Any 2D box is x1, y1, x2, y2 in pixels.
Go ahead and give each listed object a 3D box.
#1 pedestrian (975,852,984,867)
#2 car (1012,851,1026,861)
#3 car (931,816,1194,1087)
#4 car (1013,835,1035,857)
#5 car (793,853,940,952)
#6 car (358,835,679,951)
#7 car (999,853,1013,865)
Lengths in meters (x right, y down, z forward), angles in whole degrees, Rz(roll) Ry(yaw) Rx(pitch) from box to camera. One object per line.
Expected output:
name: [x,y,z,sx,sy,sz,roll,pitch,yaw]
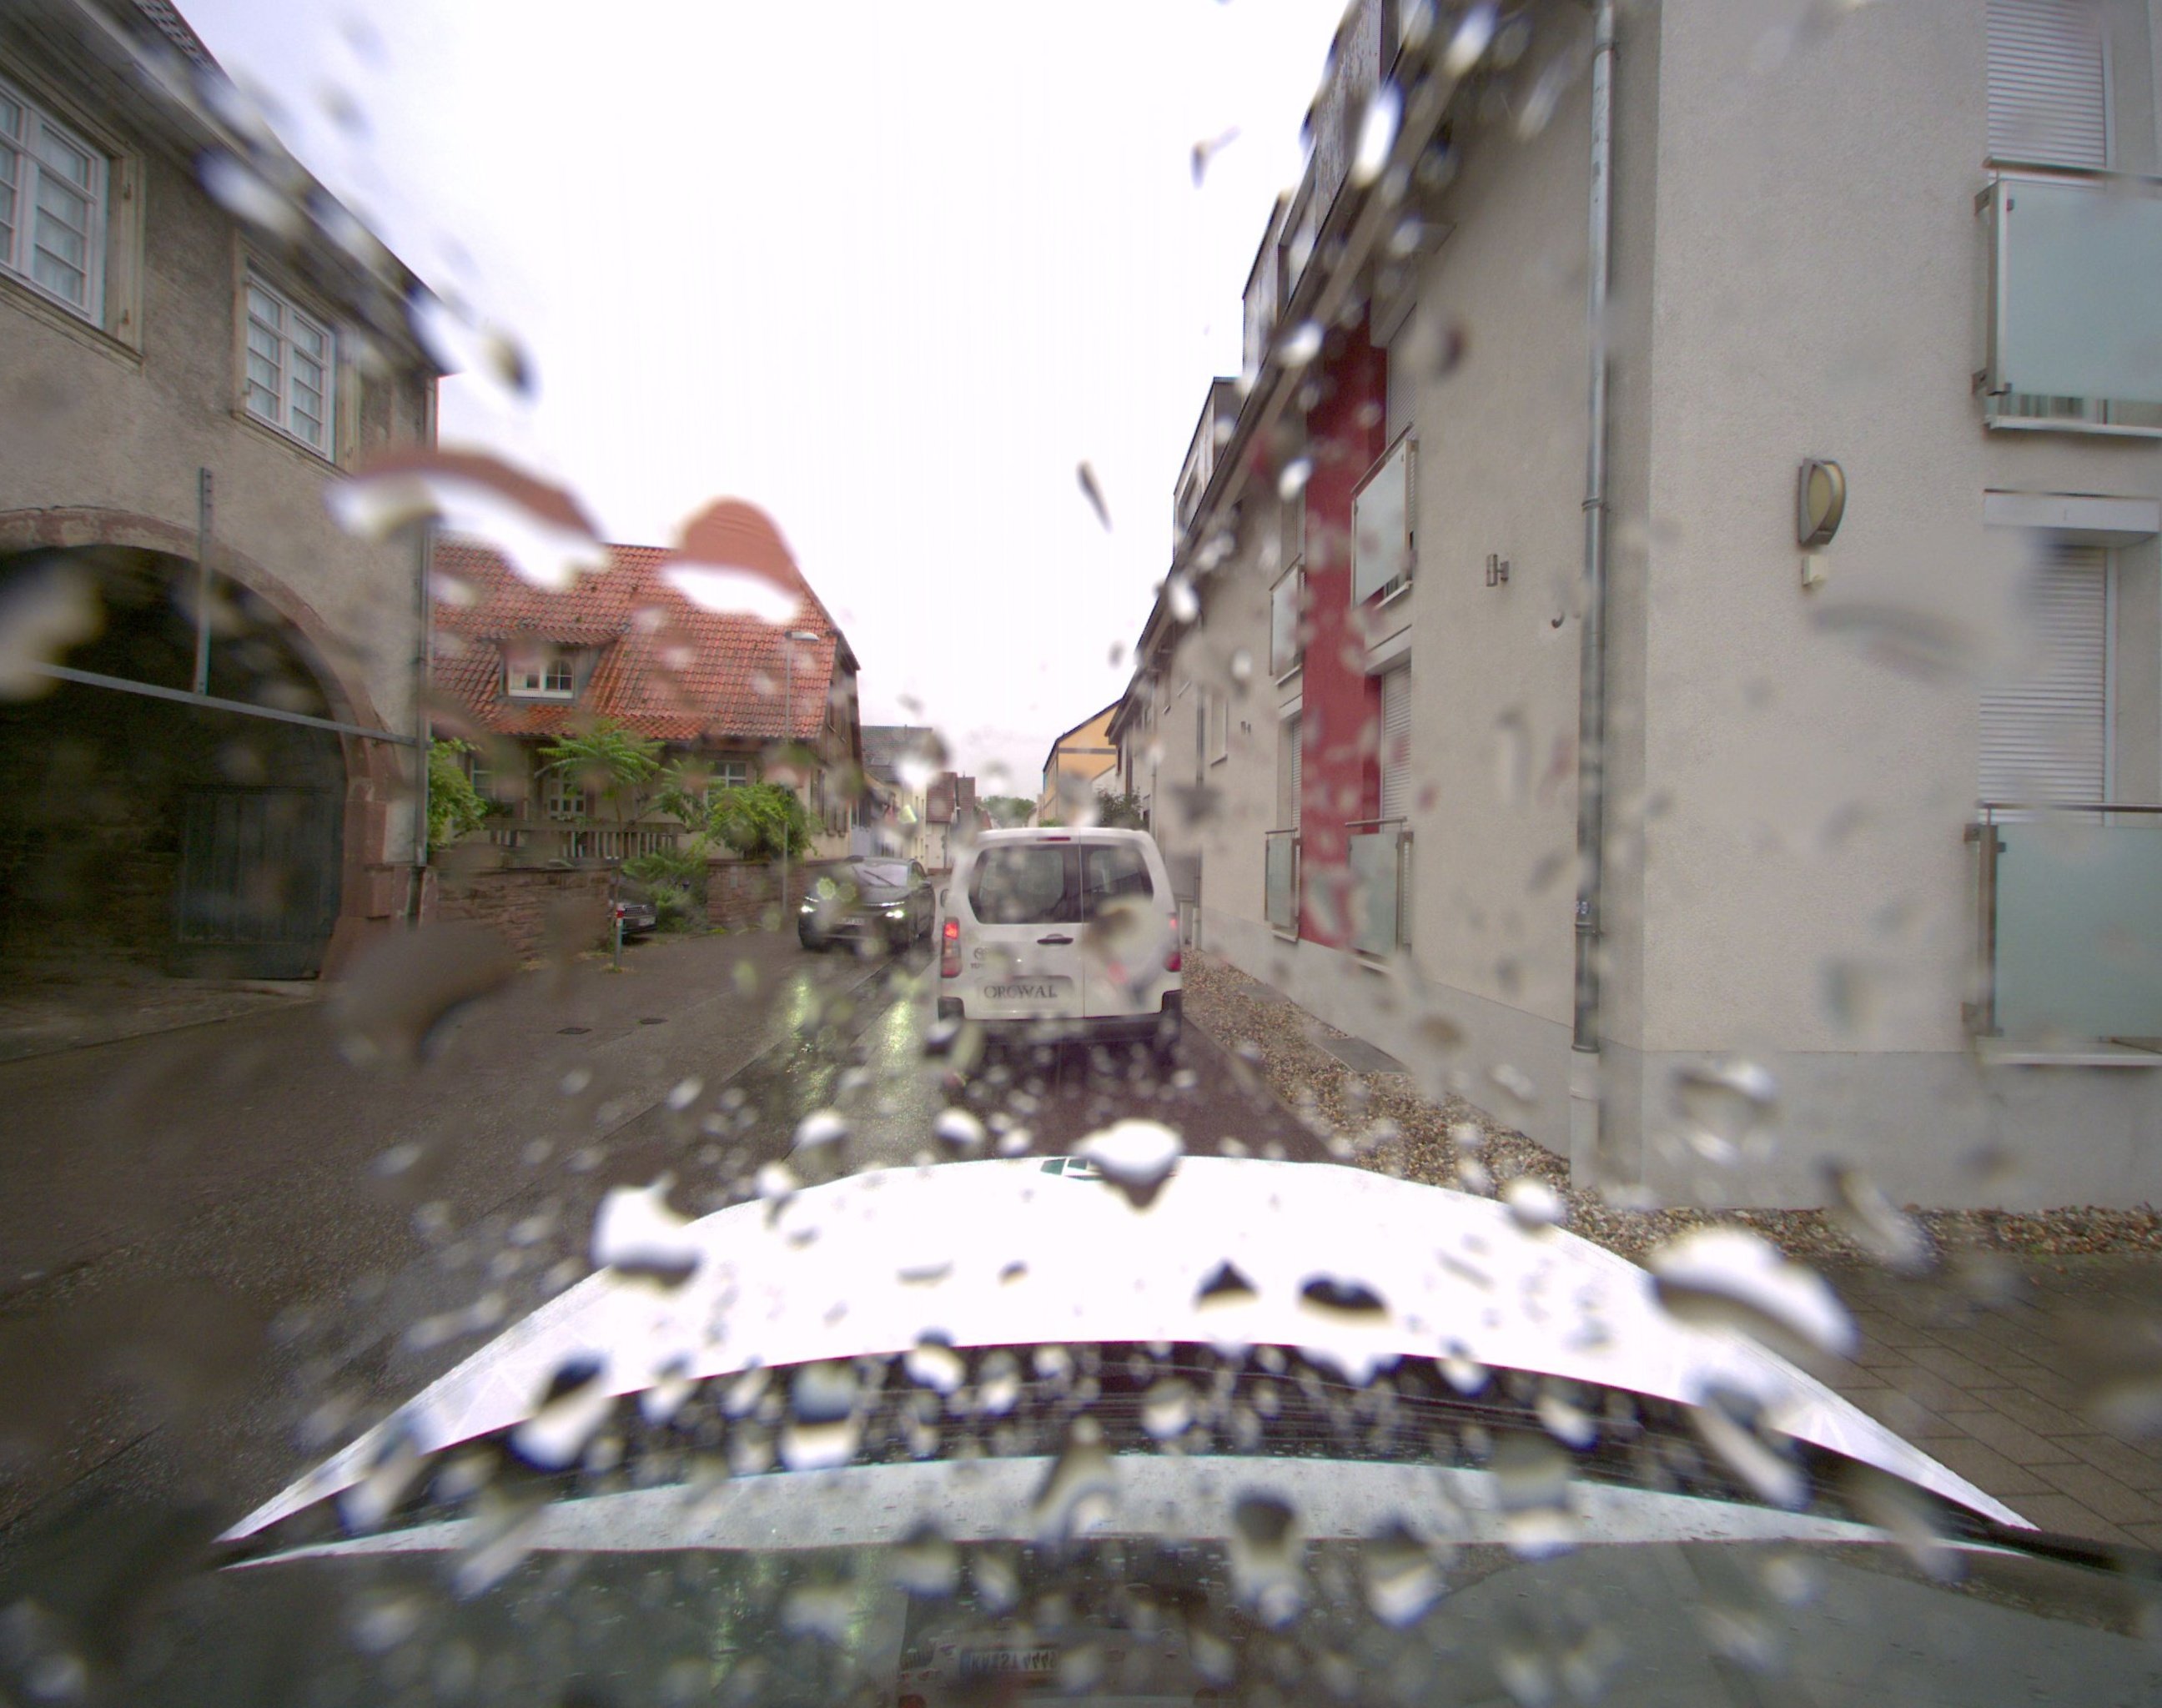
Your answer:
pedestrian: [-12.889,0.680,103.181,1.049,1.893,0.875,0,-1,-7]
car: [-8.532,0.305,111.517,1.778,1.395,3.989,0,-1,-7]
car: [-0.331,0.653,7.467,1.773,1.780,3.991,0,-1,-7]
car: [-5.334,-0.697,76.566,1.989,2.014,3.995,0,-1,-3]
car: [-3.774,0.786,15.075,1.829,1.556,4.233,1,-1,-4]
car: [-9.119,0.617,13.447,3.973,1.425,1.736,5,-1,1]
car: [-9.214,0.658,100.433,1.559,1.477,3.989,0,-1,-7]
